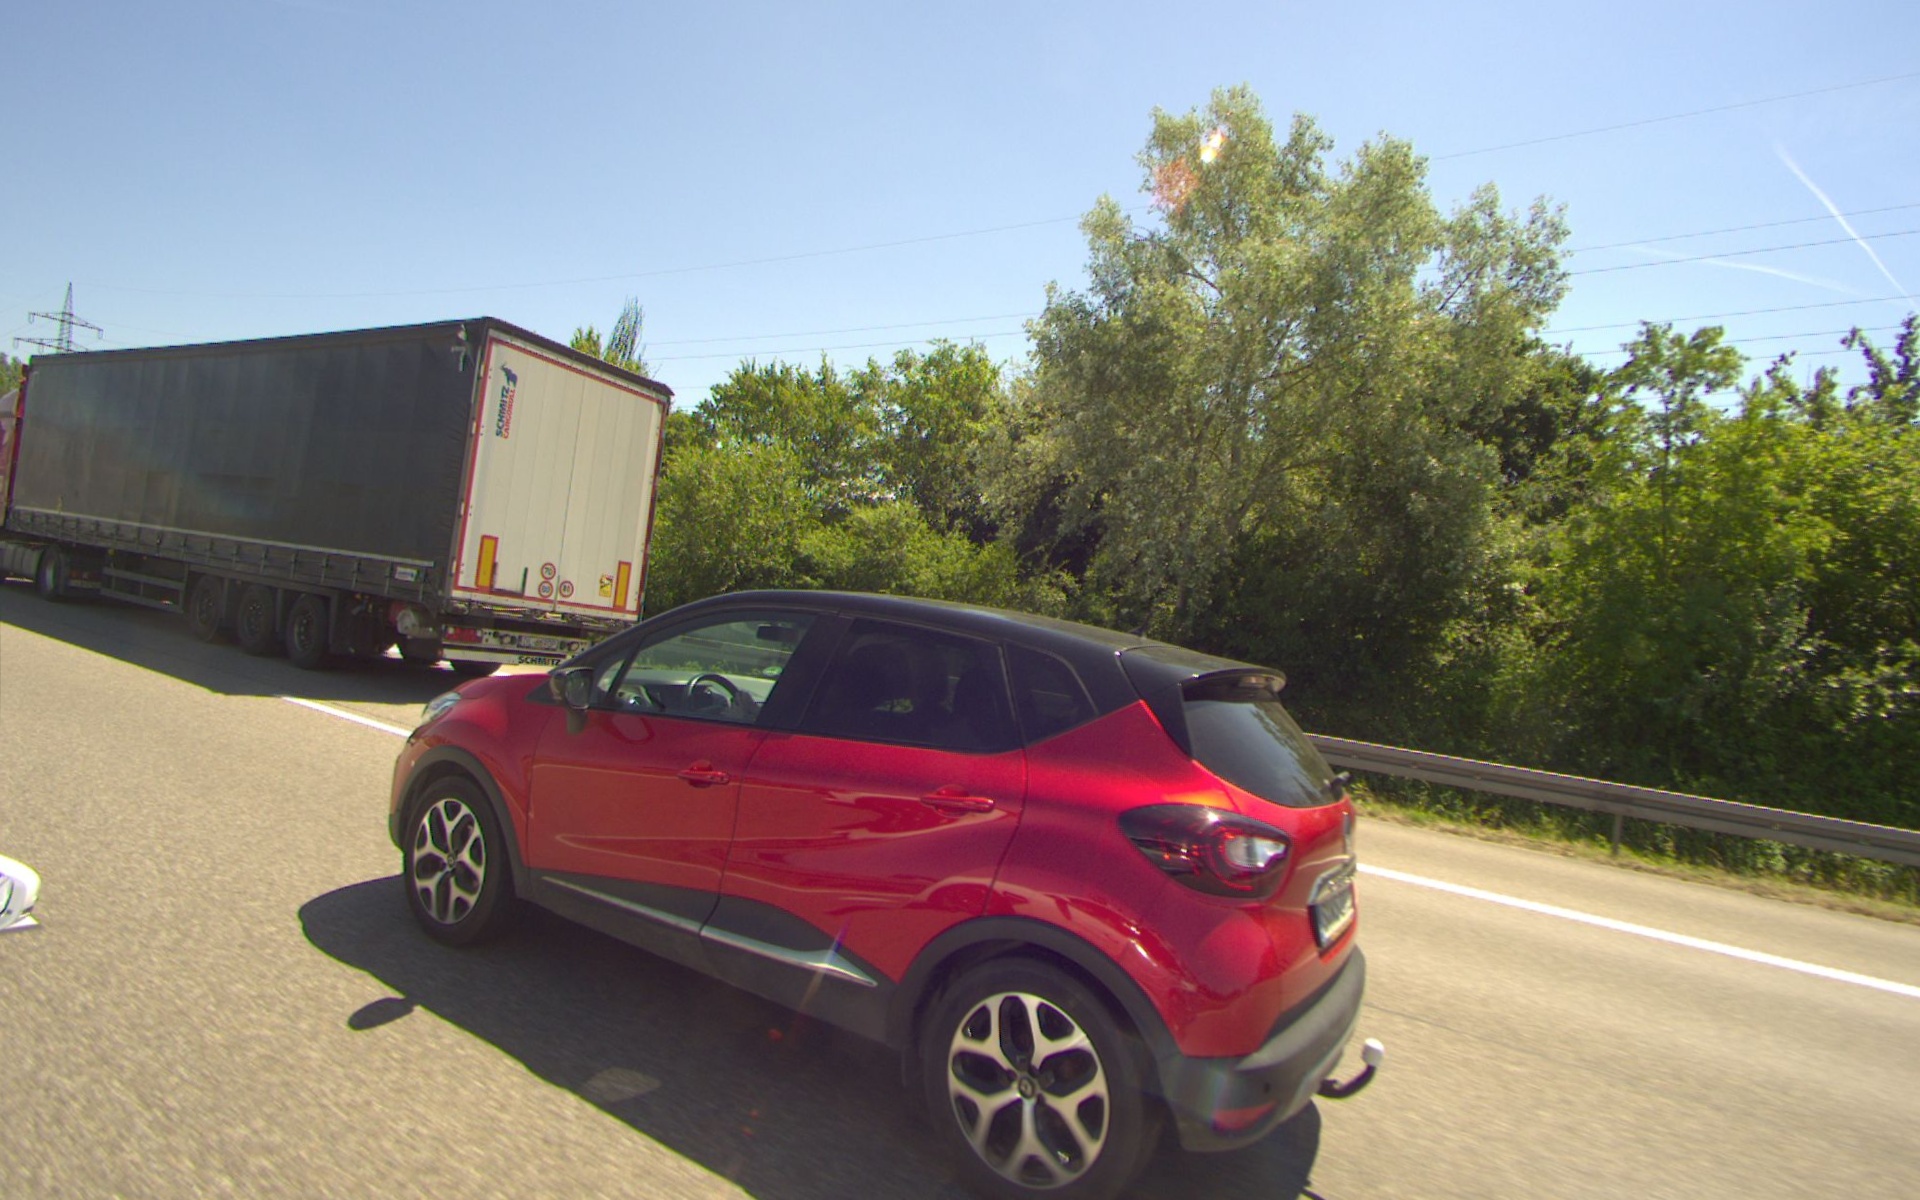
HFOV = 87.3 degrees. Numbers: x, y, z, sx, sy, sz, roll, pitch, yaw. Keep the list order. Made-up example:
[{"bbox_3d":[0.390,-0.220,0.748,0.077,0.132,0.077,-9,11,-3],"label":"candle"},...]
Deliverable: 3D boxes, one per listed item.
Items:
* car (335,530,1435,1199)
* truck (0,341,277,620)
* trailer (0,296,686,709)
[{"bbox_3d":[-0.449,0.745,4.009,3.934,1.563,1.806,6,-1,32],"label":"car"},{"bbox_3d":[-15.717,-2.120,18.549,5.628,4.213,2.799,6,-1,32],"label":"truck"},{"bbox_3d":[-10.011,-1.486,14.930,13.350,4.213,2.793,6,-1,32],"label":"trailer"}]
